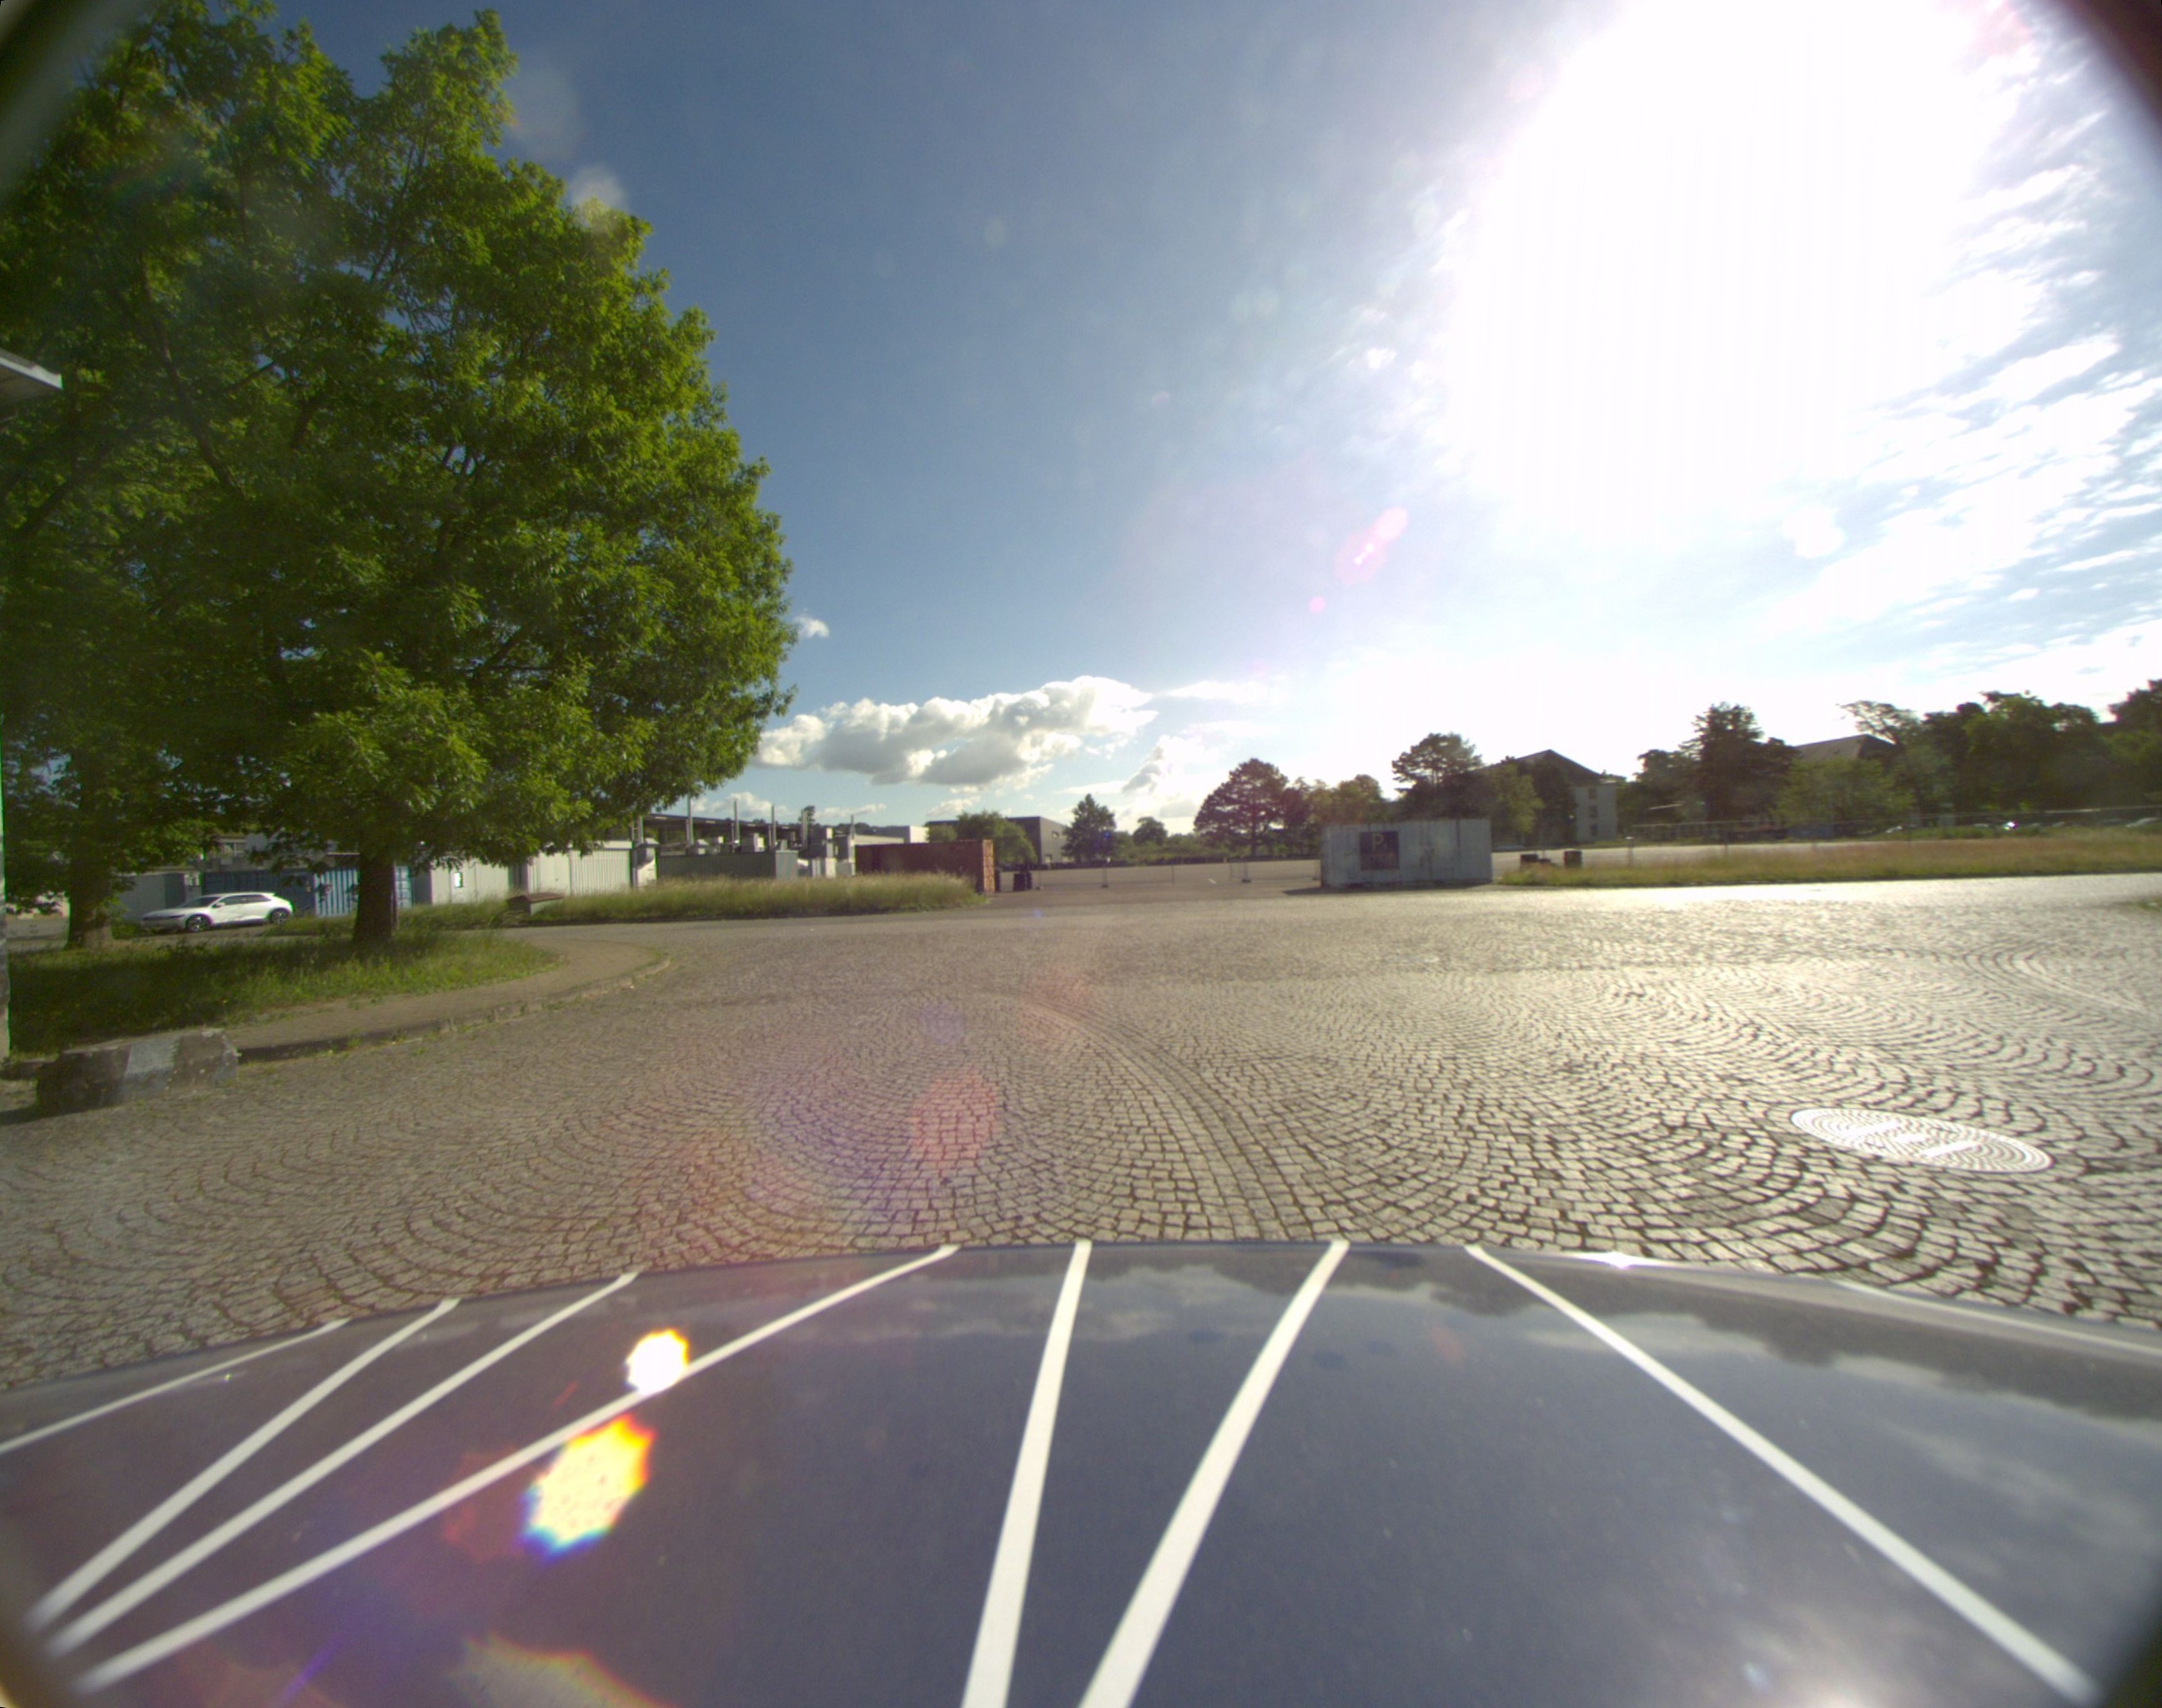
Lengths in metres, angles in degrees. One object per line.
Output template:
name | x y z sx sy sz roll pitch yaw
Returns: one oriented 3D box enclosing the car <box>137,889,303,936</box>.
car | -37.988 2.541 33.733 1.873 1.667 4.605 -2 0 5
